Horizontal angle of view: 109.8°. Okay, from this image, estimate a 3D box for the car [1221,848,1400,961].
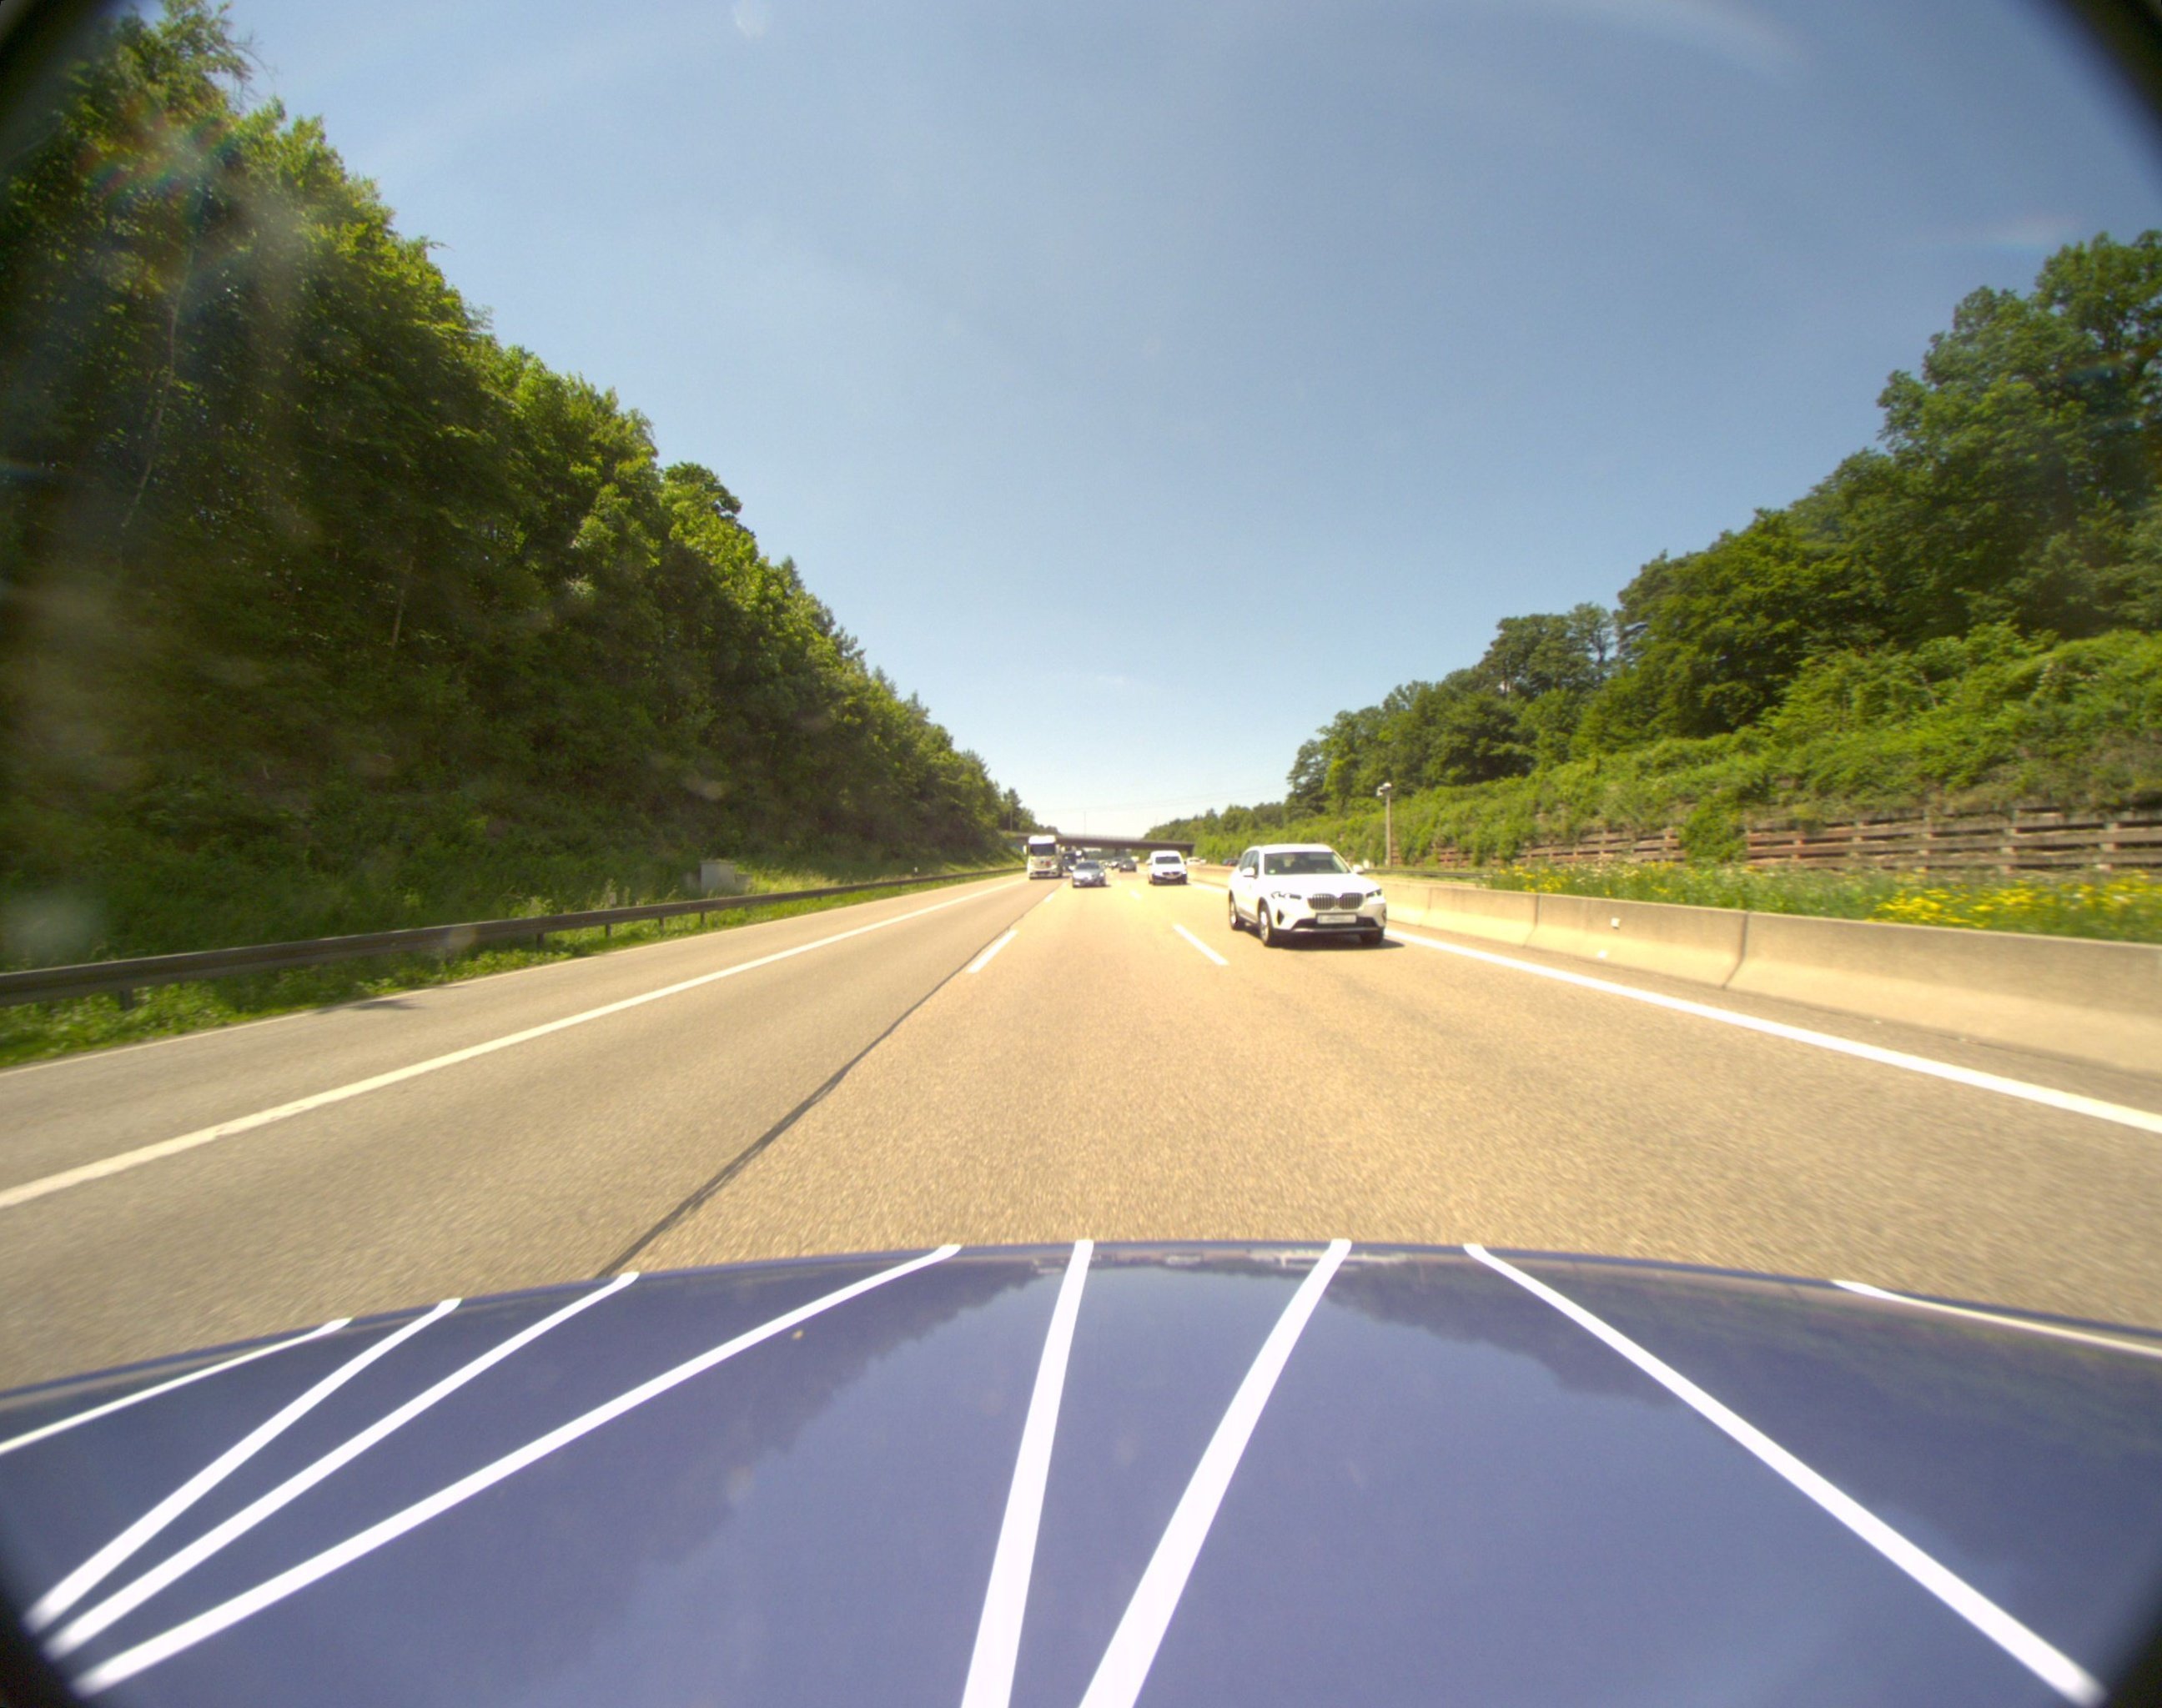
[{"bbox_3d":[3.830,0.762,13.533,1.850,1.634,4.368,-2,0,0],"label":"car"}]

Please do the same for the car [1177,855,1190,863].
[{"bbox_3d":[20.332,1.042,150.774,1.944,1.595,4.860,0,0,0],"label":"car"}]

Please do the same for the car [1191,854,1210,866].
[{"bbox_3d":[17.298,0.854,109.922,1.887,1.628,5.649,0,0,1],"label":"car"}]

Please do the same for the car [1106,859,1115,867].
[{"bbox_3d":[6.206,1.904,161.296,1.770,1.504,4.000,-3,0,0],"label":"car"}]

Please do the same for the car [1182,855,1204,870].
[{"bbox_3d":[12.154,0.874,82.640,1.750,1.595,4.058,0,0,0],"label":"car"}]

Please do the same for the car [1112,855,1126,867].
[{"bbox_3d":[5.225,1.010,104.943,1.770,1.504,4.000,-3,0,0],"label":"car"}]

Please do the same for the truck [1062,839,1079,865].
[{"bbox_3d":[-1.849,-0.346,137.125,2.627,4.365,13.087,-3,0,1],"label":"truck"}]

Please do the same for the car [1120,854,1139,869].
[{"bbox_3d":[5.235,0.829,82.874,1.770,1.504,4.725,-3,0,1],"label":"car"}]

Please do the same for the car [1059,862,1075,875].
[{"bbox_3d":[-1.713,1.778,94.165,1.770,1.504,4.000,-3,0,0],"label":"car"}]

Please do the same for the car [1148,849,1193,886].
[{"bbox_3d":[4.732,0.669,40.767,1.998,1.764,4.501,-3,0,2],"label":"car"}]

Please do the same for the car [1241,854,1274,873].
[{"bbox_3d":[15.946,0.836,68.784,1.944,1.595,4.656,0,0,0],"label":"car"}]

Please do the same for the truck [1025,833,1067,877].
[{"bbox_3d":[-2.999,0.060,68.521,2.844,3.518,13.087,-3,0,1],"label":"truck"}]

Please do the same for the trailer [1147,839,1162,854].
[{"bbox_3d":[21.880,-2.228,225.943,2.942,4.161,14.184,-2,0,1],"label":"trailer"}]

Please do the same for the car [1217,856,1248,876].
[{"bbox_3d":[12.279,0.965,61.857,1.766,1.595,4.082,0,0,0],"label":"car"}]

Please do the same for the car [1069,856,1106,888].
[{"bbox_3d":[0.425,0.943,41.663,1.843,1.518,4.501,-3,0,2],"label":"car"}]

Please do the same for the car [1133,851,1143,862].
[{"bbox_3d":[15.035,0.684,201.287,2.245,2.667,5.341,0,0,0],"label":"car"}]

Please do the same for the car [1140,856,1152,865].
[{"bbox_3d":[12.287,1.238,143.941,1.944,1.595,5.226,0,0,1],"label":"car"}]

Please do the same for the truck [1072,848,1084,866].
[{"bbox_3d":[-0.637,0.668,193.820,2.627,4.365,13.087,-3,0,1],"label":"truck"}]
